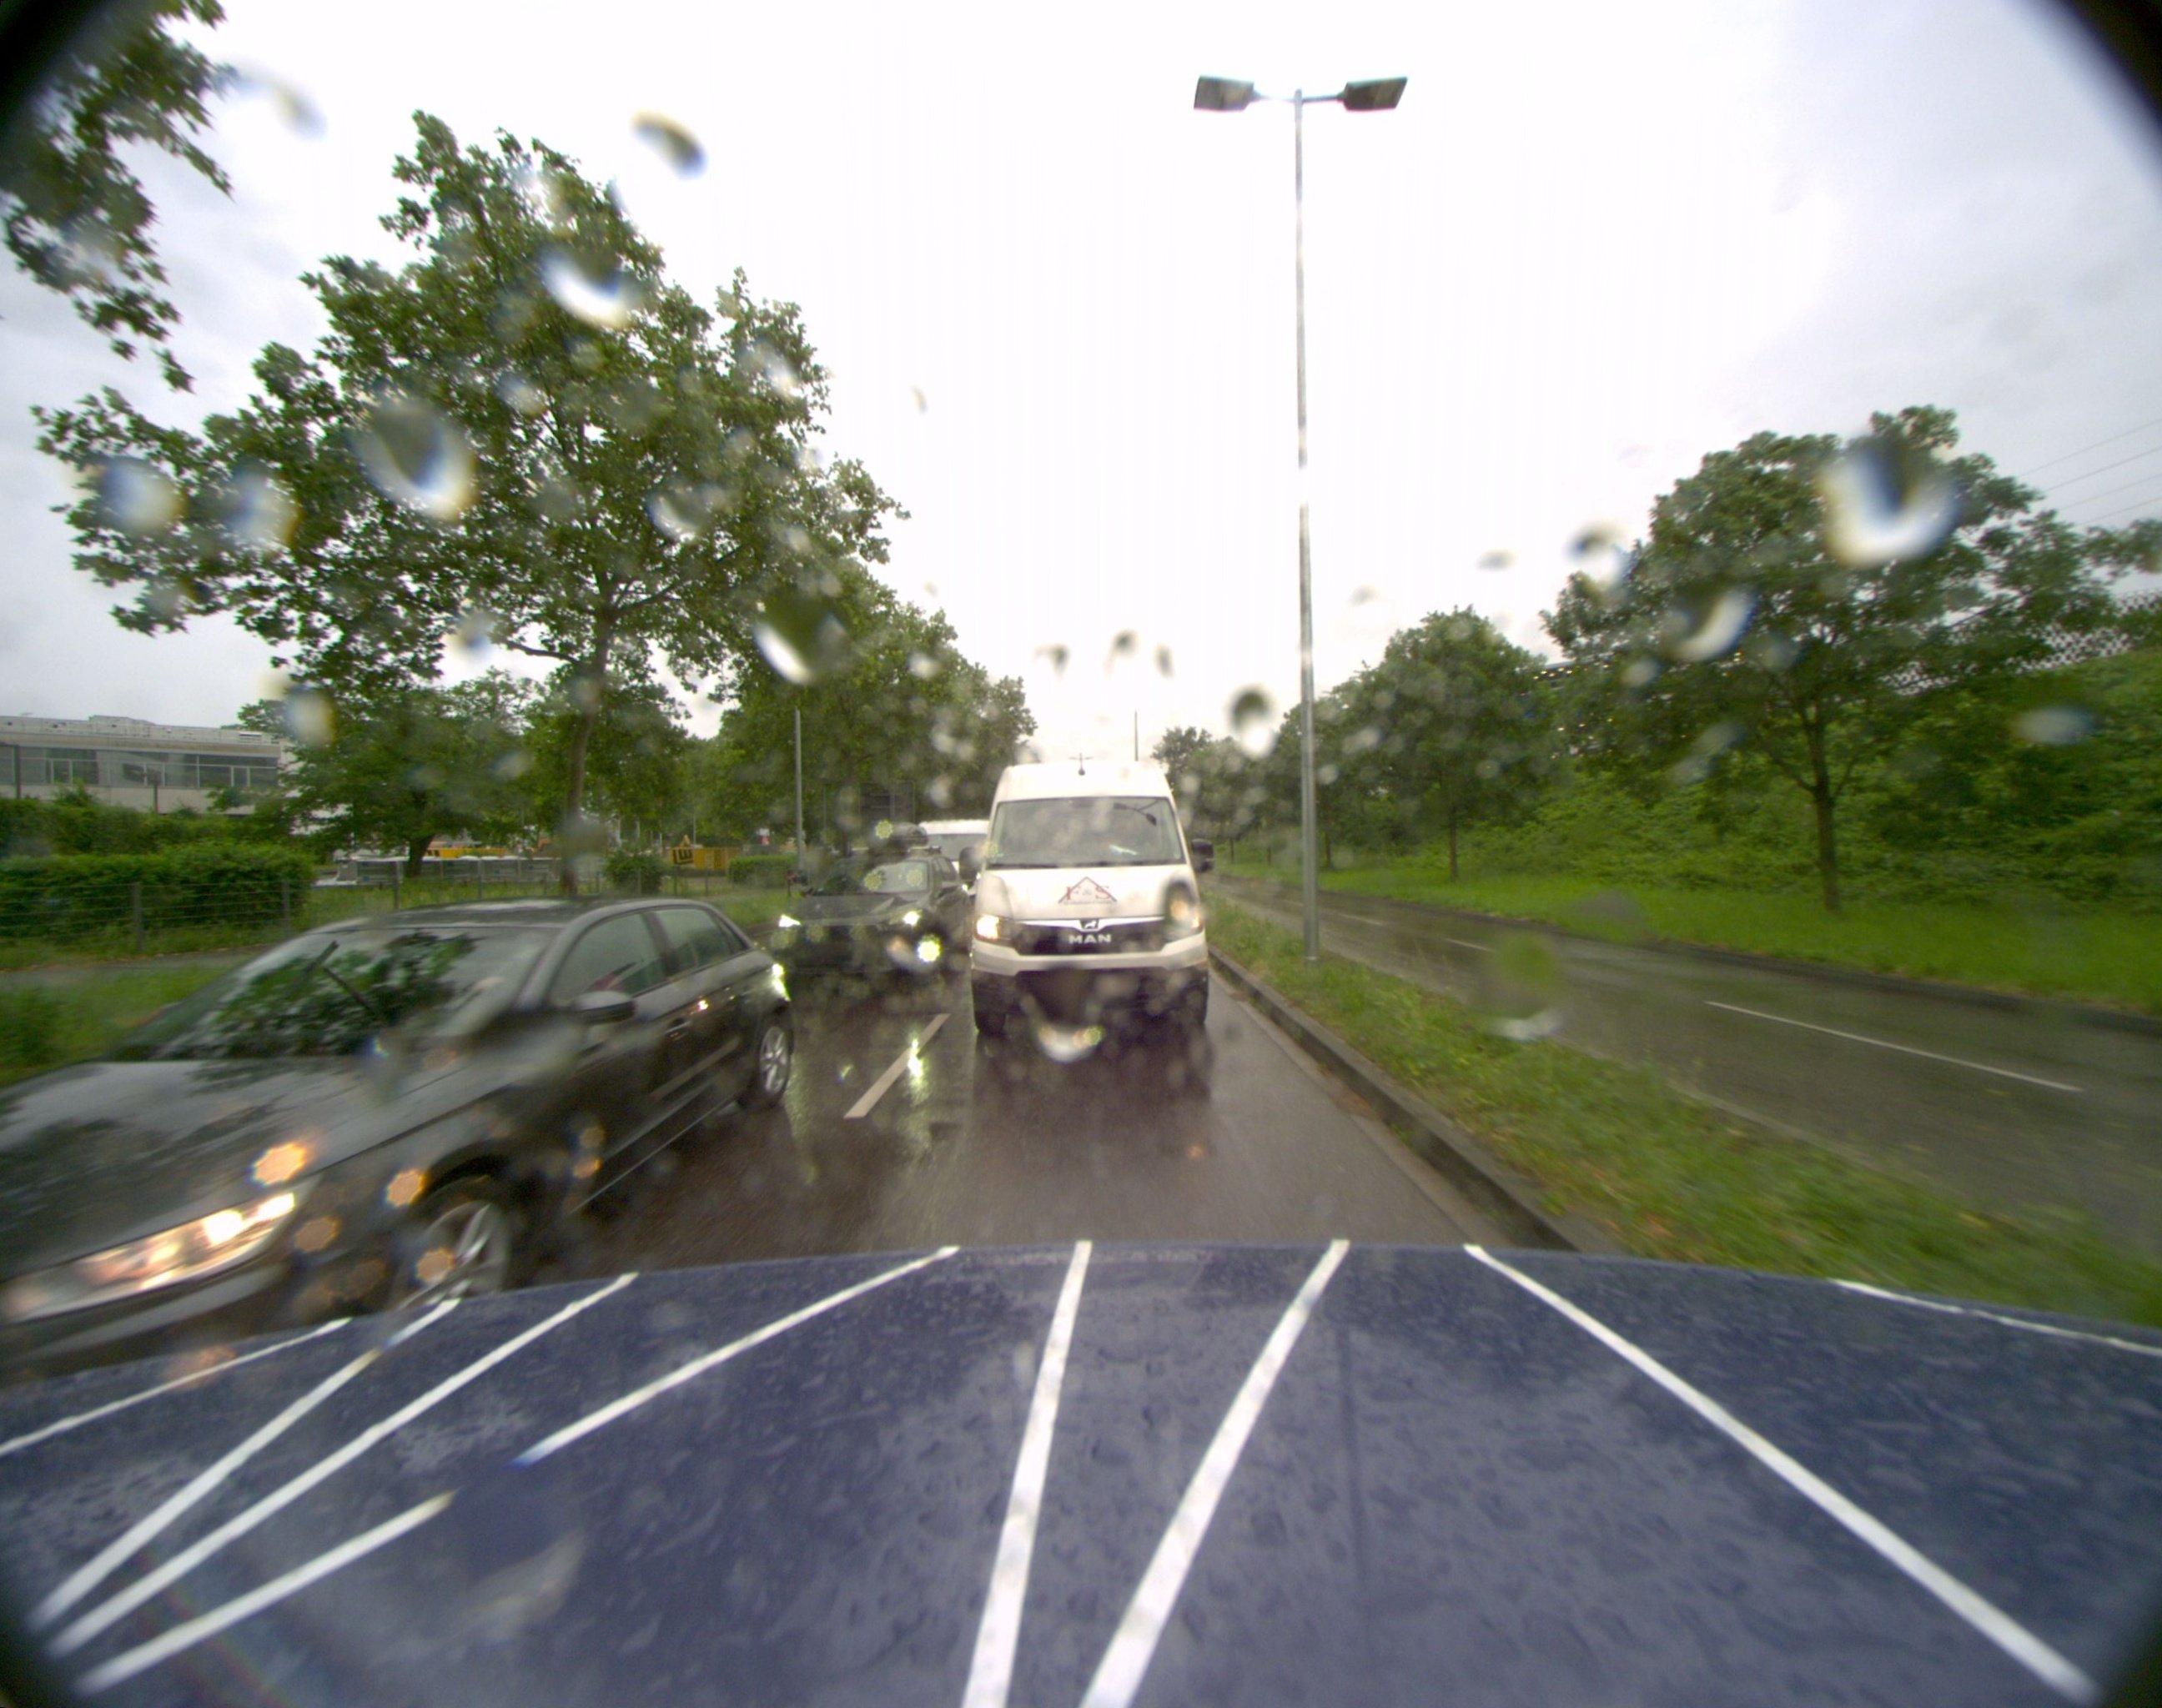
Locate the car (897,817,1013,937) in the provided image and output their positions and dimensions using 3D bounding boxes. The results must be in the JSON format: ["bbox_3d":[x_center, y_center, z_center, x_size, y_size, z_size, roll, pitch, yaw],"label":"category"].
[{"bbox_3d":[-2.835,0.454,18.330,1.894,2.432,5.317,-1,0,-1],"label":"car"}]

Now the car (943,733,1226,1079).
[{"bbox_3d":[-0.011,0.366,8.426,2.027,2.498,5.695,-1,0,-1],"label":"car"}]

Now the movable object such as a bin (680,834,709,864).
[{"bbox_3d":[-46.189,-0.607,90.745,1.922,3.415,4.925,-3,1,-38],"label":"movable object such as a bin"}]

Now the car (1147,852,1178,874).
[{"bbox_3d":[5.858,0.645,54.890,1.820,1.454,3.999,1,1,0],"label":"car"}]

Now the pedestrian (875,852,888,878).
[{"bbox_3d":[-13.261,0.725,50.515,0.646,1.707,0.656,-2,1,1],"label":"pedestrian"}]

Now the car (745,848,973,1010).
[{"bbox_3d":[-2.683,0.792,10.341,1.894,1.688,4.422,-1,0,-2],"label":"car"}]

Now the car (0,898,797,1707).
[{"bbox_3d":[-2.760,1.038,3.133,1.680,1.419,3.781,-2,0,1],"label":"car"}]

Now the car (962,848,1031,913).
[{"bbox_3d":[-2.679,0.790,25.075,1.807,1.902,4.546,-1,0,-1],"label":"car"}]
